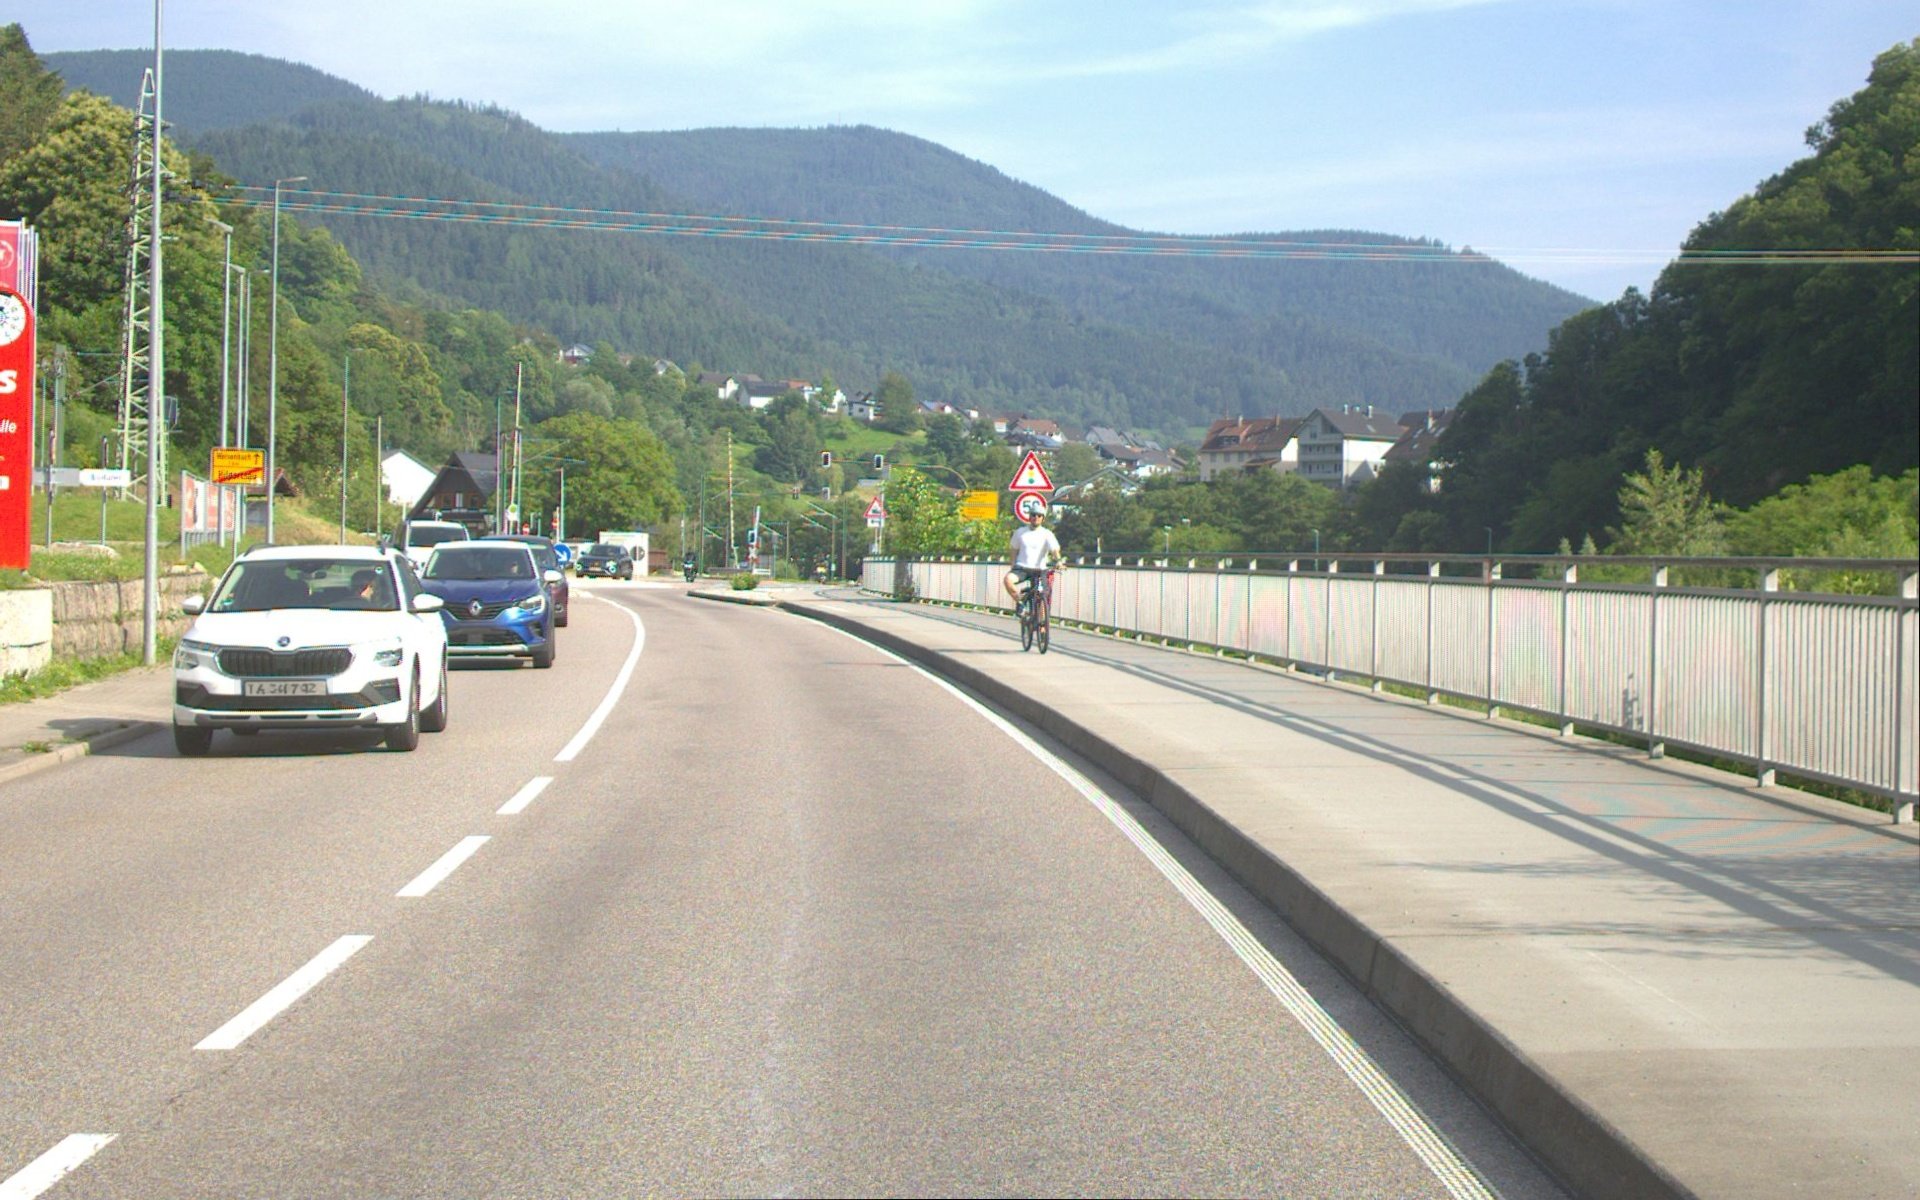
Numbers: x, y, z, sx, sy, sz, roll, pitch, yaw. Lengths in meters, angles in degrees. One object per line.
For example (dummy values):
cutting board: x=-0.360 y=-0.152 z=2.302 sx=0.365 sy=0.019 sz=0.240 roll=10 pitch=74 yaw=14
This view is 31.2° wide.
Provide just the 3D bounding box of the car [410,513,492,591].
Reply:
car: x=-12.976 y=-1.258 z=87.839 sx=1.896 sy=1.881 sz=5.297 roll=2 pitch=1 yaw=-7

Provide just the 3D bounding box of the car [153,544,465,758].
car: x=-4.912 y=0.328 z=26.458 sx=1.749 sy=1.499 sz=4.191 roll=0 pitch=1 yaw=-2

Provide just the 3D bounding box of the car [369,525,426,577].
car: x=-18.024 y=-1.572 z=110.185 sx=1.705 sy=1.578 sz=4.160 roll=2 pitch=1 yaw=-9

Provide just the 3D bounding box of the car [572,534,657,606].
car: x=-8.194 y=-0.739 z=81.840 sx=1.796 sy=1.612 sz=4.463 roll=1 pitch=1 yaw=-3

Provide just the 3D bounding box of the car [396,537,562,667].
car: x=-5.938 y=-0.017 z=42.825 sx=1.744 sy=1.521 sz=4.001 roll=-1 pitch=1 yaw=-4
